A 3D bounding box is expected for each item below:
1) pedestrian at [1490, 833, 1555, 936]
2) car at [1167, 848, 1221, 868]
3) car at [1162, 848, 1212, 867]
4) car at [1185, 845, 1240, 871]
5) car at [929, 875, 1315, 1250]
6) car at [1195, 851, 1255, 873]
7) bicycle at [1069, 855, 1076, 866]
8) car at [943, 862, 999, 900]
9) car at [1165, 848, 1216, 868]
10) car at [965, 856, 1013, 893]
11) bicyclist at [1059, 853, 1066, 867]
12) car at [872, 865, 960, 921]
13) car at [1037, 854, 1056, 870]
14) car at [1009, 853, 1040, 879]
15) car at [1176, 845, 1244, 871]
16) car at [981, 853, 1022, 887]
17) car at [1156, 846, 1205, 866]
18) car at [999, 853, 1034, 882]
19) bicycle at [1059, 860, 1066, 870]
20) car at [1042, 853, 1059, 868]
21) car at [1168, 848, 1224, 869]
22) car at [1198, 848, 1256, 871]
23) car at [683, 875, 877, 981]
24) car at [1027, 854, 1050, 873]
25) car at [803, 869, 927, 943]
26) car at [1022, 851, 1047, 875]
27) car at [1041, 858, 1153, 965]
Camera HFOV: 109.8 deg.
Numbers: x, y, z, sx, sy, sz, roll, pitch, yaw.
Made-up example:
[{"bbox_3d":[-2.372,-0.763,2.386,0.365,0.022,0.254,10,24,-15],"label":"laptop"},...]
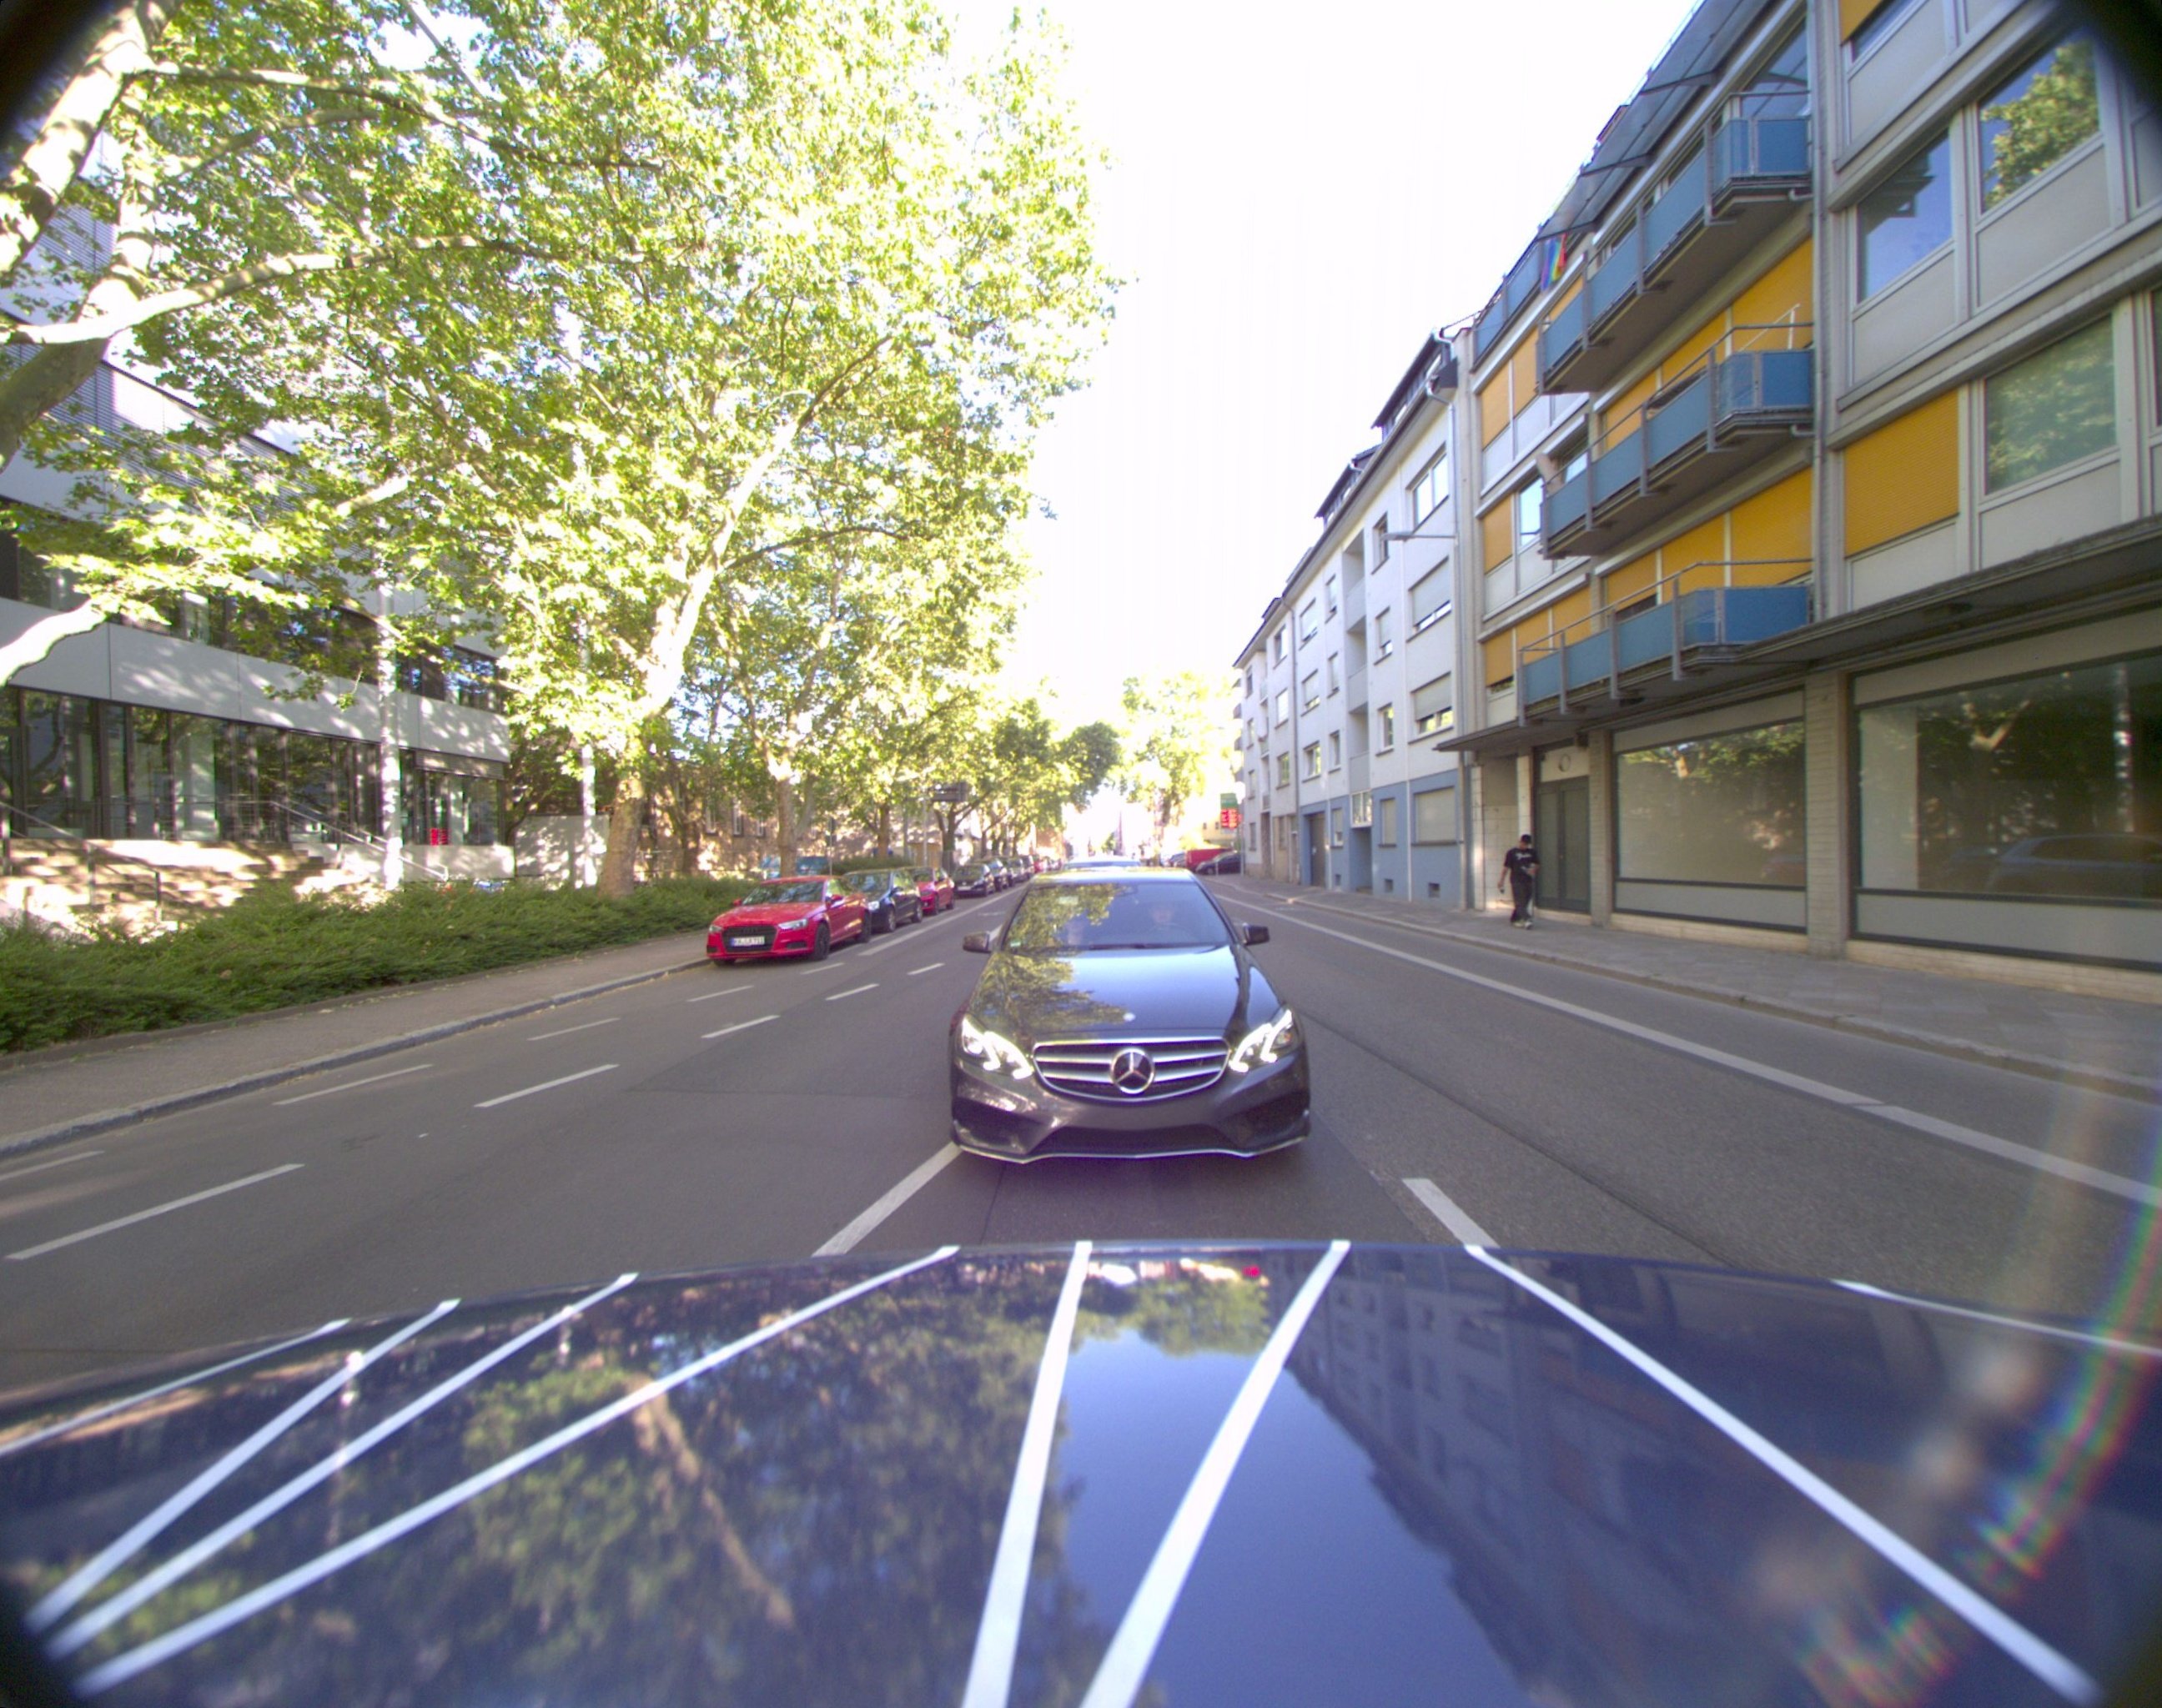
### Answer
[{"bbox_3d":[7.895,0.533,13.605,0.663,1.761,0.793,-2,1,1],"label":"pedestrian"},{"bbox_3d":[11.268,0.401,76.220,5.054,1.926,2.161,-2,0,1],"label":"car"},{"bbox_3d":[11.318,0.344,81.184,5.042,1.926,2.315,-2,0,1],"label":"car"},{"bbox_3d":[10.328,0.298,60.079,3.997,1.926,1.867,-2,0,1],"label":"car"},{"bbox_3d":[0.209,0.982,5.356,1.667,1.499,4.000,-1,0,1],"label":"car"},{"bbox_3d":[10.353,0.560,54.780,3.997,1.412,1.743,-2,0,1],"label":"car"},{"bbox_3d":[-0.880,0.689,78.132,0.574,1.053,1.595,-2,0,1],"label":"bicycle"},{"bbox_3d":[-4.753,1.116,33.292,1.755,1.424,3.909,-3,0,1],"label":"car"},{"bbox_3d":[11.283,0.369,78.718,4.991,1.926,2.083,-2,0,1],"label":"car"},{"bbox_3d":[-4.566,0.974,38.262,1.755,1.644,4.174,-3,0,1],"label":"car"},{"bbox_3d":[-1.894,0.598,78.228,0.650,1.427,0.741,-2,1,1],"label":"bicyclist"},{"bbox_3d":[-5.037,1.145,23.654,1.755,1.459,3.909,-3,0,1],"label":"car"},{"bbox_3d":[-3.780,0.867,83.513,1.755,1.652,4.447,-3,0,1],"label":"car"},{"bbox_3d":[-4.106,0.820,55.754,1.755,1.753,4.447,-3,0,1],"label":"car"},{"bbox_3d":[10.633,0.291,63.104,5.223,1.969,2.257,-2,0,1],"label":"car"},{"bbox_3d":[-4.557,0.869,44.061,1.755,1.810,4.447,-3,0,1],"label":"car"},{"bbox_3d":[11.185,0.198,85.520,5.143,2.135,2.187,-2,0,1],"label":"car"},{"bbox_3d":[-4.276,0.878,50.943,1.755,1.718,4.447,-3,0,1],"label":"car"},{"bbox_3d":[-1.875,1.133,78.265,0.650,1.053,1.595,-2,0,1],"label":"bicycle"},{"bbox_3d":[-3.652,0.769,93.003,1.755,1.652,4.447,-3,0,1],"label":"car"},{"bbox_3d":[11.096,0.440,73.520,5.143,1.926,2.187,-2,0,1],"label":"car"},{"bbox_3d":[10.909,0.389,56.990,3.997,1.552,1.743,-2,0,1],"label":"car"},{"bbox_3d":[-5.127,1.188,13.596,1.755,1.400,4.000,-3,0,1],"label":"car"},{"bbox_3d":[-4.006,0.900,72.173,1.755,1.652,4.447,-3,0,1],"label":"car"},{"bbox_3d":[-5.088,1.172,18.441,1.755,1.424,3.909,-3,0,1],"label":"car"},{"bbox_3d":[-4.000,0.726,66.388,1.755,1.941,4.447,-3,0,1],"label":"car"},{"bbox_3d":[0.268,0.885,13.608,1.667,1.563,4.000,-1,0,1],"label":"car"}]
